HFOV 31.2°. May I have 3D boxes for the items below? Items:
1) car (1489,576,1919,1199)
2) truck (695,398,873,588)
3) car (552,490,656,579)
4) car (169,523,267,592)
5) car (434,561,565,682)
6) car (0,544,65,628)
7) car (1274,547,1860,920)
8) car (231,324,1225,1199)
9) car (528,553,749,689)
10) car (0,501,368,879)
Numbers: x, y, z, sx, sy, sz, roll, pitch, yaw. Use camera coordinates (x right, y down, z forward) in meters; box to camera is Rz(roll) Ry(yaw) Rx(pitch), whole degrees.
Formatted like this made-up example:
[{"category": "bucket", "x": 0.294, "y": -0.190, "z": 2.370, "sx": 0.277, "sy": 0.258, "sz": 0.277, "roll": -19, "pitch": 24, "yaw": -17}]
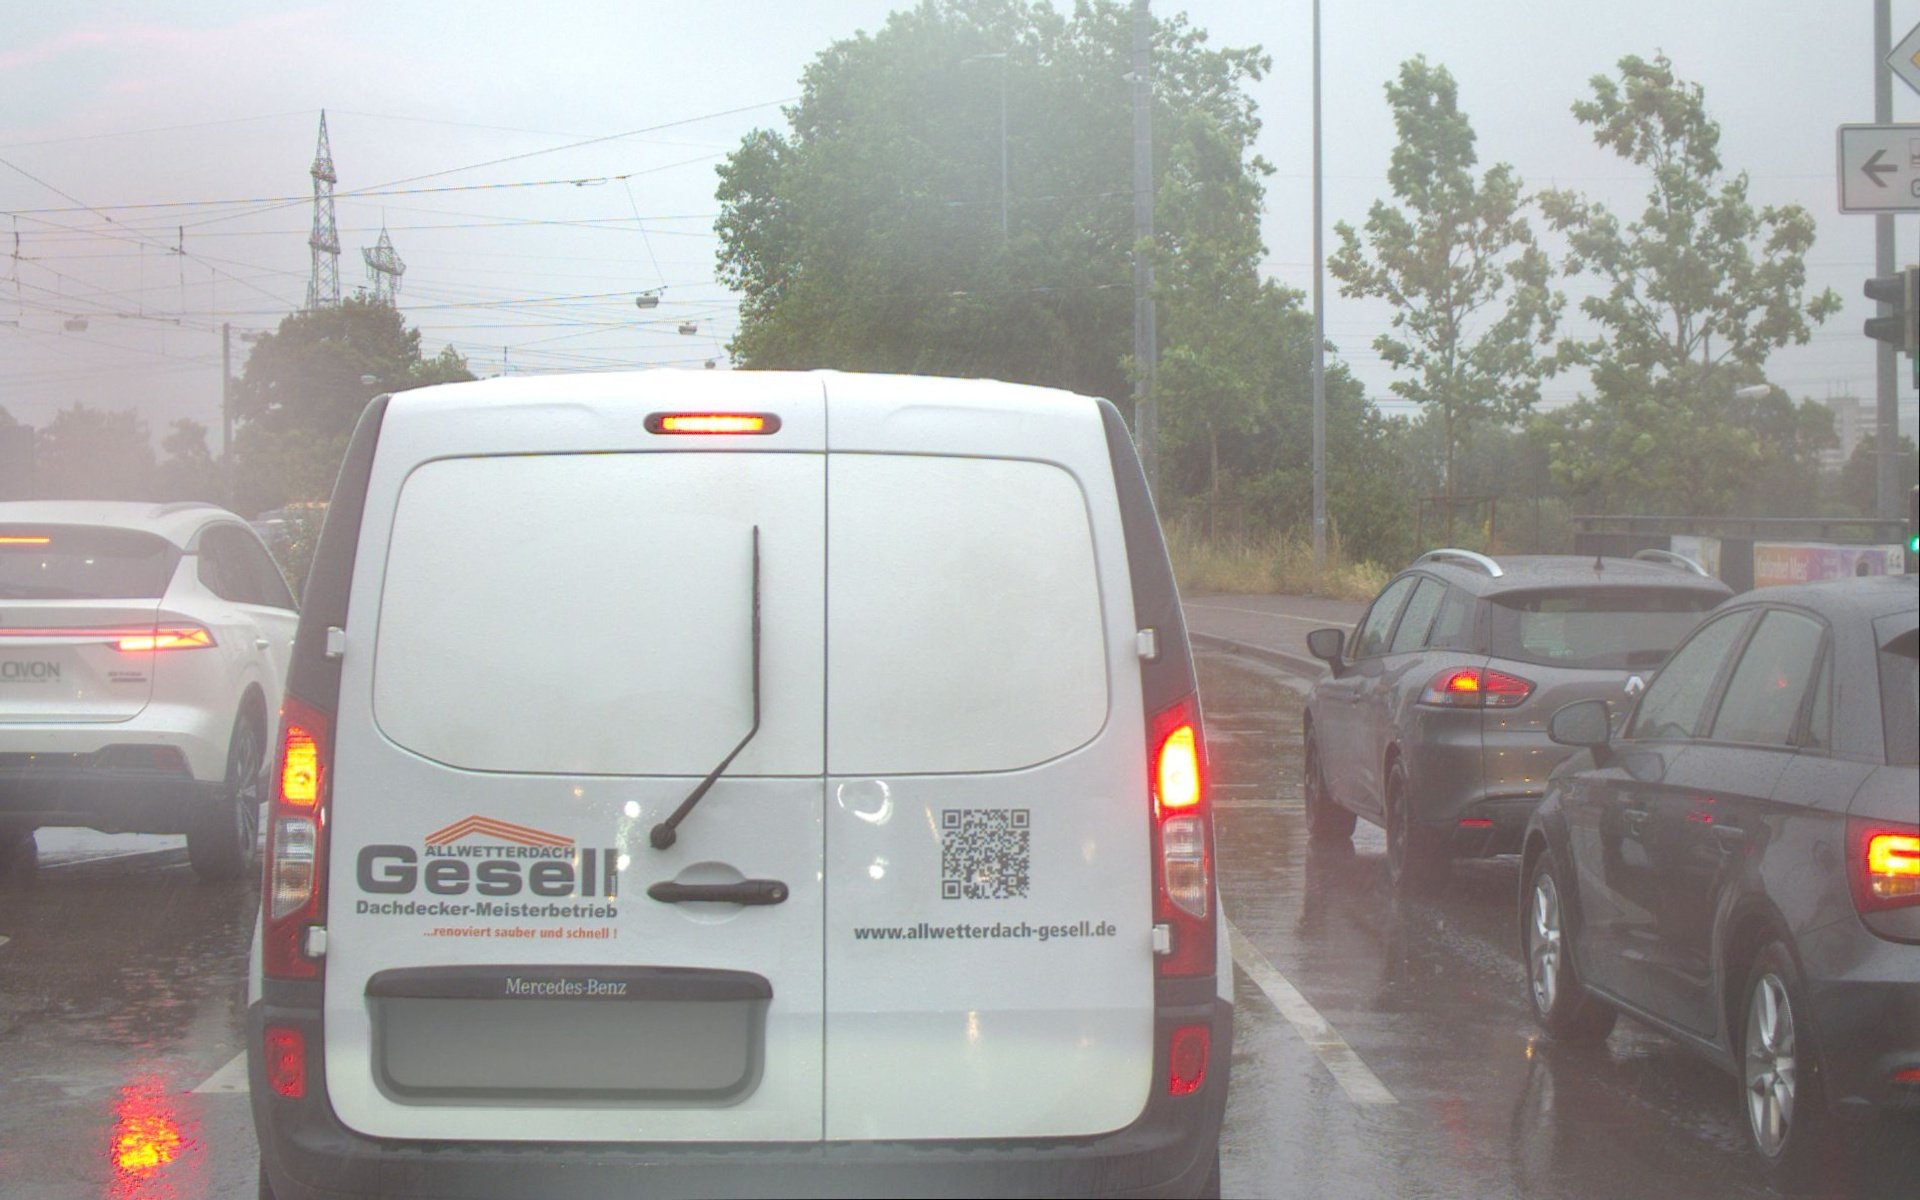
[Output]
[{"category": "car", "x": 2.526, "y": 0.628, "z": 8.927, "sx": 1.629, "sy": 1.340, "sz": 3.624, "roll": 1, "pitch": 1, "yaw": -2}, {"category": "truck", "x": -2.836, "y": -1.639, "z": 54.877, "sx": 2.632, "sy": 2.806, "sz": 7.146, "roll": 0, "pitch": 1, "yaw": -3}, {"category": "car", "x": -8.050, "y": -1.464, "z": 78.024, "sx": 1.993, "sy": 1.853, "sz": 4.000, "roll": -3, "pitch": 0, "yaw": -2}, {"category": "car", "x": -22.390, "y": -1.285, "z": 103.849, "sx": 1.993, "sy": 2.007, "sz": 4.000, "roll": 1, "pitch": 1, "yaw": 1}, {"category": "car", "x": -7.377, "y": 0.312, "z": 55.309, "sx": 1.993, "sy": 1.853, "sz": 4.001, "roll": 1, "pitch": 1, "yaw": -7}, {"category": "car", "x": -21.615, "y": -0.334, "z": 76.856, "sx": 1.929, "sy": 1.820, "sz": 3.999, "roll": 1, "pitch": 1, "yaw": 4}, {"category": "car", "x": 2.589, "y": 0.504, "z": 15.572, "sx": 1.859, "sy": 1.424, "sz": 3.808, "roll": 1, "pitch": 1, "yaw": -2}, {"category": "car", "x": -0.389, "y": 0.433, "z": 7.442, "sx": 1.566, "sy": 1.782, "sz": 4.000, "roll": 0, "pitch": 1, "yaw": -1}, {"category": "car", "x": -4.083, "y": 0.240, "z": 44.260, "sx": 1.615, "sy": 1.654, "sz": 4.077, "roll": 1, "pitch": 1, "yaw": 13}, {"category": "car", "x": -3.966, "y": 0.308, "z": 16.147, "sx": 1.728, "sy": 1.530, "sz": 4.298, "roll": 1, "pitch": 1, "yaw": -2}]
